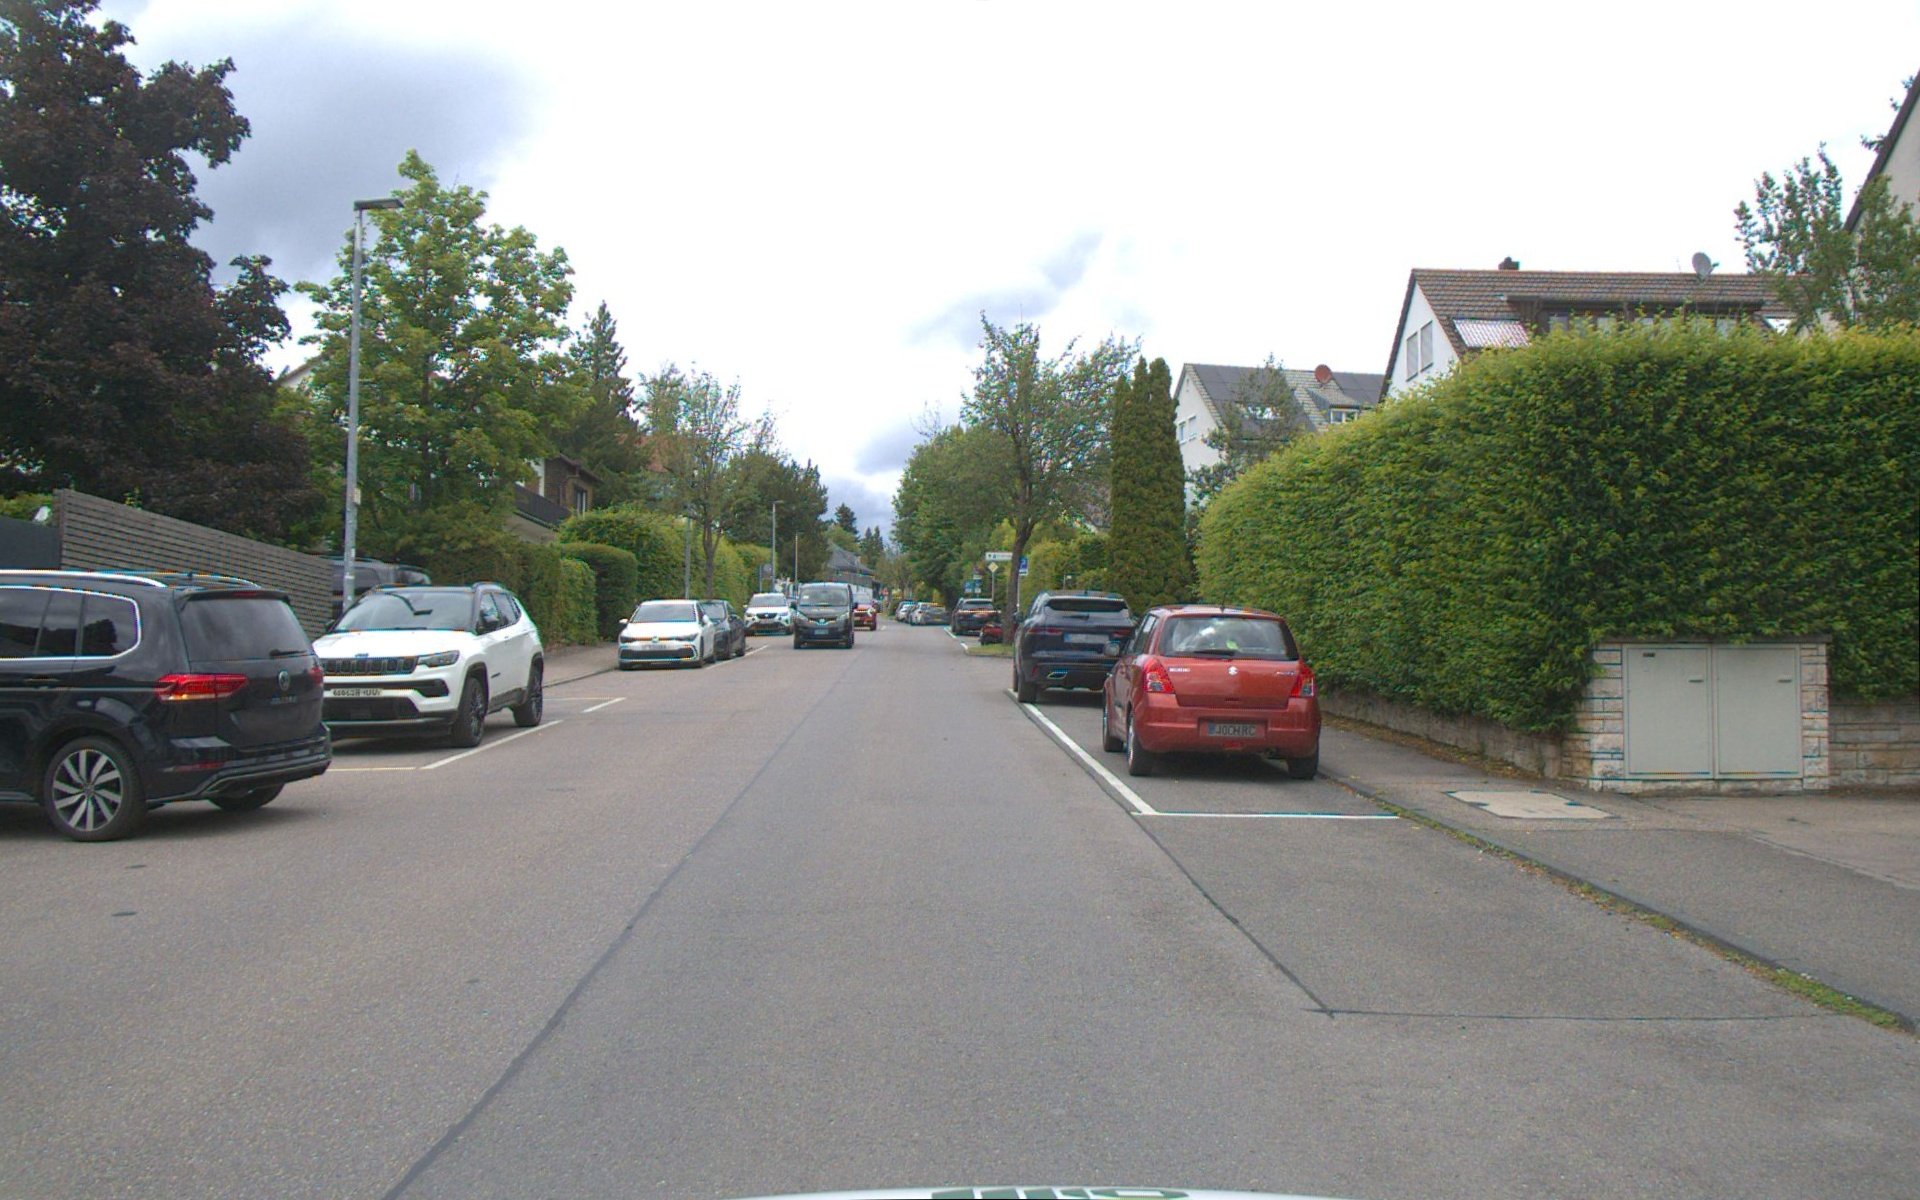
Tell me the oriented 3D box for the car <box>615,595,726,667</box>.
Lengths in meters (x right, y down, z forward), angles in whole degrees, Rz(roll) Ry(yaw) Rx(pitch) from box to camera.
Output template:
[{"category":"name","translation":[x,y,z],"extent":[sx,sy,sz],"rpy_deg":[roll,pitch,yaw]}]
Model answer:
[{"category":"car","translation":[-6.288,0.630,36.330],"extent":[1.800,1.447,4.406],"rpy_deg":[-1,0,-2]}]

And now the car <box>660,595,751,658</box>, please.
[{"category":"car","translation":[-6.240,0.628,40.984],"extent":[1.692,1.448,4.078],"rpy_deg":[-1,0,-1]}]

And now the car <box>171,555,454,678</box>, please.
[{"category":"car","translation":[-10.953,0.281,28.160],"extent":[3.986,1.984,2.001],"rpy_deg":[0,-1,6]}]

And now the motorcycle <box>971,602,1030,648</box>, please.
[{"category":"motorcycle","translation":[1.232,0.752,50.365],"extent":[1.849,1.370,0.591],"rpy_deg":[0,0,-38]}]

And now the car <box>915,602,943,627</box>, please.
[{"category":"car","translation":[-2.194,0.990,115.890],"extent":[1.680,1.686,3.618],"rpy_deg":[1,0,-6]}]

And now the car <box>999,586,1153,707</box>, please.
[{"category":"car","translation":[1.701,0.665,25.753],"extent":[1.953,1.646,4.512],"rpy_deg":[2,0,-1]}]

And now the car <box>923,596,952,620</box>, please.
[{"category":"car","translation":[-1.532,0.549,111.279],"extent":[1.633,1.527,3.463],"rpy_deg":[1,0,-6]}]

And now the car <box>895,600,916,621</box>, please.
[{"category":"car","translation":[-4.704,0.900,142.615],"extent":[1.633,1.697,3.463],"rpy_deg":[1,0,-6]}]

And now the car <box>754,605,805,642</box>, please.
[{"category":"car","translation":[-7.256,0.948,66.821],"extent":[1.727,1.412,3.998],"rpy_deg":[-2,-1,-2]}]

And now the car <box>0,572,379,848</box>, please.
[{"category":"car","translation":[-6.421,0.634,11.300],"extent":[4.205,1.640,1.855],"rpy_deg":[2,0,8]}]

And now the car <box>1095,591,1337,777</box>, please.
[{"category":"car","translation":[2.306,0.698,15.773],"extent":[1.627,1.534,3.757],"rpy_deg":[0,0,-2]}]

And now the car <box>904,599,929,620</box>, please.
[{"category":"car","translation":[-3.301,0.706,125.369],"extent":[1.633,1.527,3.463],"rpy_deg":[1,0,-6]}]

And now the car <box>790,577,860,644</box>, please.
[{"category":"car","translation":[-3.924,0.283,48.603],"extent":[1.847,1.883,4.400],"rpy_deg":[0,0,-2]}]

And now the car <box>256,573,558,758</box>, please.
[{"category":"car","translation":[-5.729,0.601,17.747],"extent":[1.800,1.695,4.407],"rpy_deg":[-1,0,-1]}]

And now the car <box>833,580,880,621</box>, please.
[{"category":"car","translation":[-4.489,0.004,72.219],"extent":[1.902,1.676,4.256],"rpy_deg":[-1,0,-2]}]

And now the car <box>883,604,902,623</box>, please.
[{"category":"car","translation":[-6.460,1.278,157.933],"extent":[1.612,1.697,3.463],"rpy_deg":[1,0,-6]}]

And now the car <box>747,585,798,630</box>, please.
[{"category":"car","translation":[-6.867,0.264,60.812],"extent":[1.688,1.567,3.997],"rpy_deg":[-1,1,-4]}]

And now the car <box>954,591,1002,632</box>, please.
[{"category":"car","translation":[0.712,0.453,68.338],"extent":[1.844,1.560,4.474],"rpy_deg":[2,0,-1]}]

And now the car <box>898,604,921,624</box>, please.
[{"category":"car","translation":[-4.179,1.117,135.881],"extent":[1.633,1.527,3.463],"rpy_deg":[1,0,-6]}]
